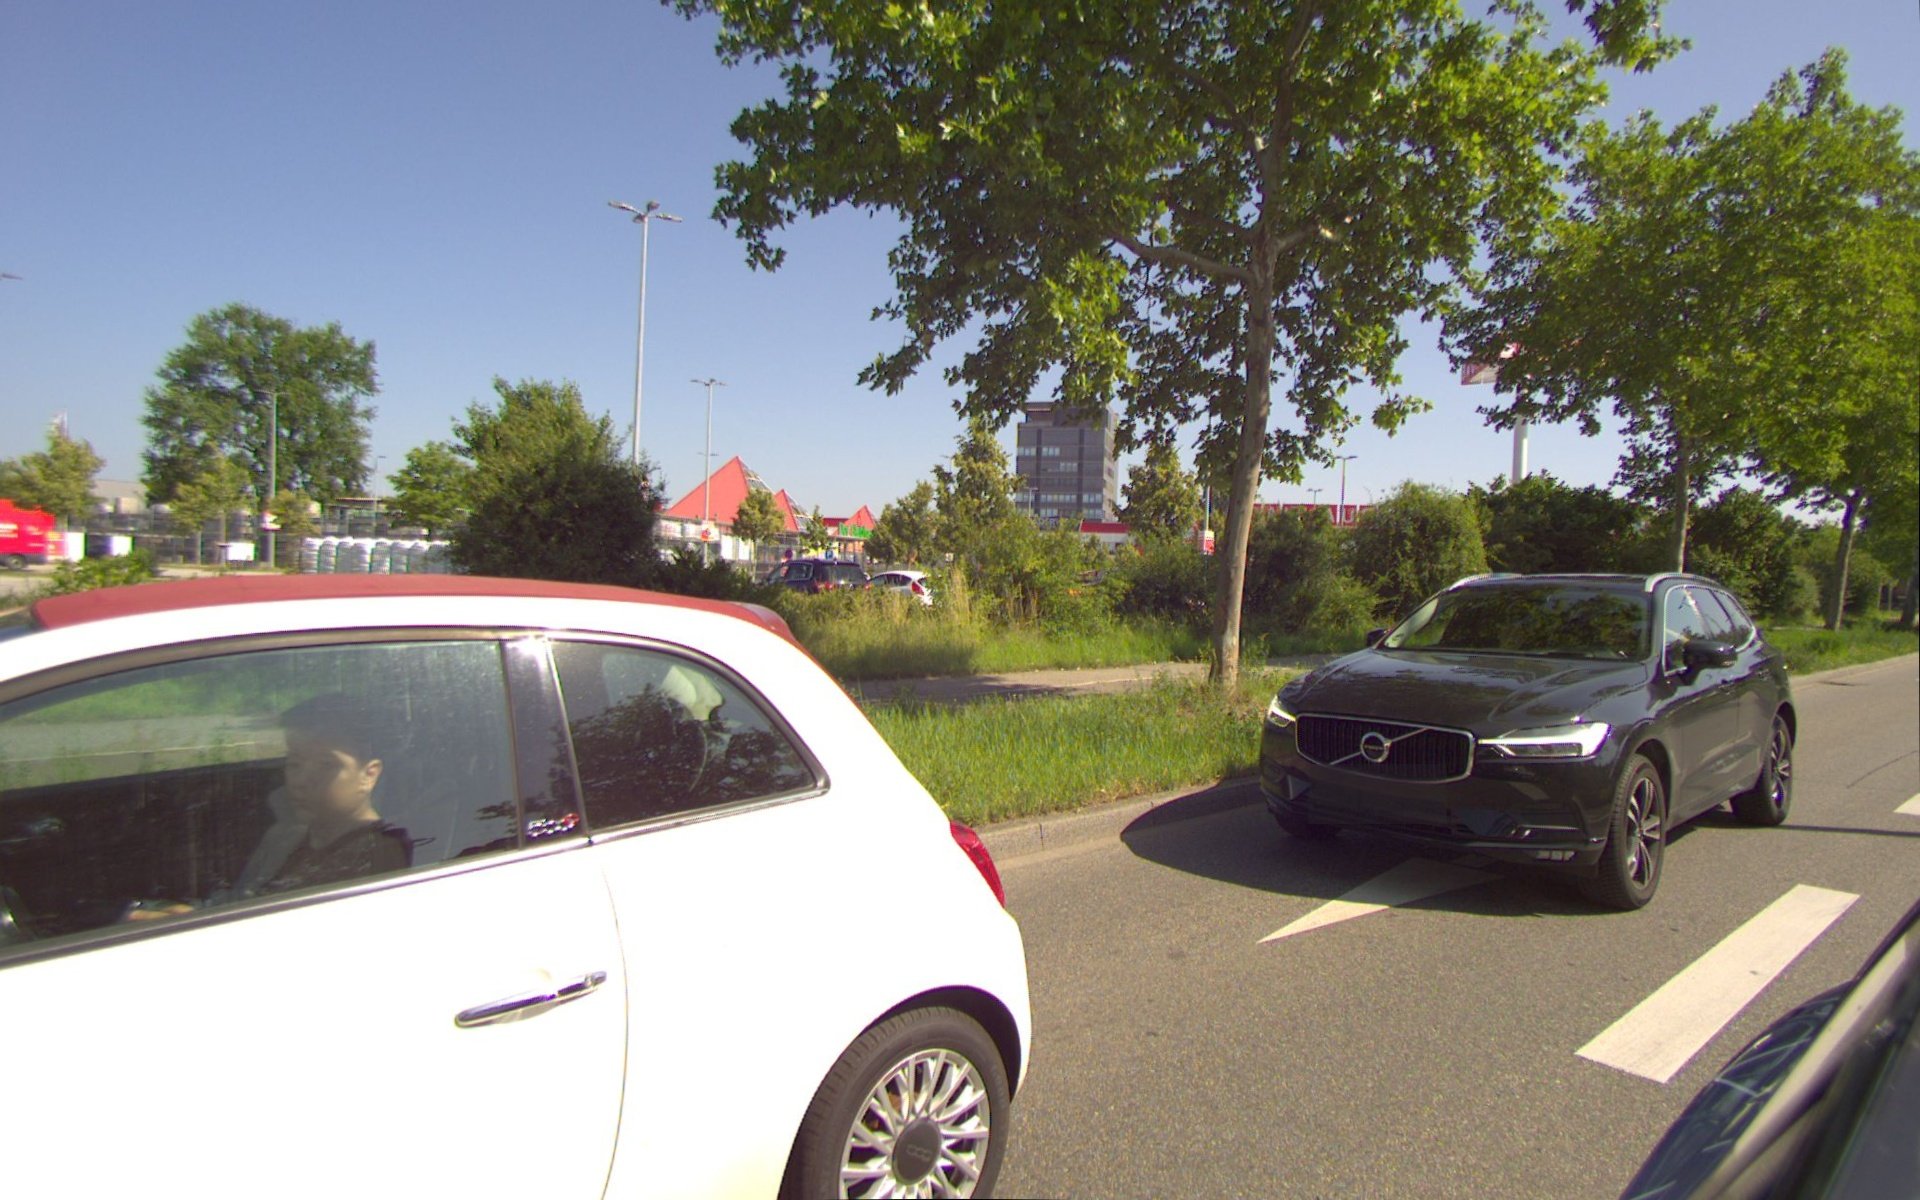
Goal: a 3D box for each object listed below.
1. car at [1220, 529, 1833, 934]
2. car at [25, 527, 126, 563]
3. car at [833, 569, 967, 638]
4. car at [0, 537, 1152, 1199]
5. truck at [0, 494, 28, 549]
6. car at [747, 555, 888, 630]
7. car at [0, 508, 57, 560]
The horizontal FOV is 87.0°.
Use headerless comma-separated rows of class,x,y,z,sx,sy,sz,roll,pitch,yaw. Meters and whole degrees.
car,3.752,0.500,6.309,4.485,1.642,1.923,-1,1,-41
car,-54.012,-3.320,61.912,1.971,2.039,4.370,0,1,15
car,-1.660,0.057,27.168,3.549,1.717,1.692,1,1,45
car,-1.397,0.637,2.031,3.456,1.454,1.665,0,1,-39
truck,-59.343,-4.716,58.557,1.971,3.289,8.189,0,1,15
car,-3.597,-0.211,25.230,3.549,1.717,1.692,1,1,45
car,-46.386,-3.136,47.389,2.087,2.370,5.903,1,1,19
